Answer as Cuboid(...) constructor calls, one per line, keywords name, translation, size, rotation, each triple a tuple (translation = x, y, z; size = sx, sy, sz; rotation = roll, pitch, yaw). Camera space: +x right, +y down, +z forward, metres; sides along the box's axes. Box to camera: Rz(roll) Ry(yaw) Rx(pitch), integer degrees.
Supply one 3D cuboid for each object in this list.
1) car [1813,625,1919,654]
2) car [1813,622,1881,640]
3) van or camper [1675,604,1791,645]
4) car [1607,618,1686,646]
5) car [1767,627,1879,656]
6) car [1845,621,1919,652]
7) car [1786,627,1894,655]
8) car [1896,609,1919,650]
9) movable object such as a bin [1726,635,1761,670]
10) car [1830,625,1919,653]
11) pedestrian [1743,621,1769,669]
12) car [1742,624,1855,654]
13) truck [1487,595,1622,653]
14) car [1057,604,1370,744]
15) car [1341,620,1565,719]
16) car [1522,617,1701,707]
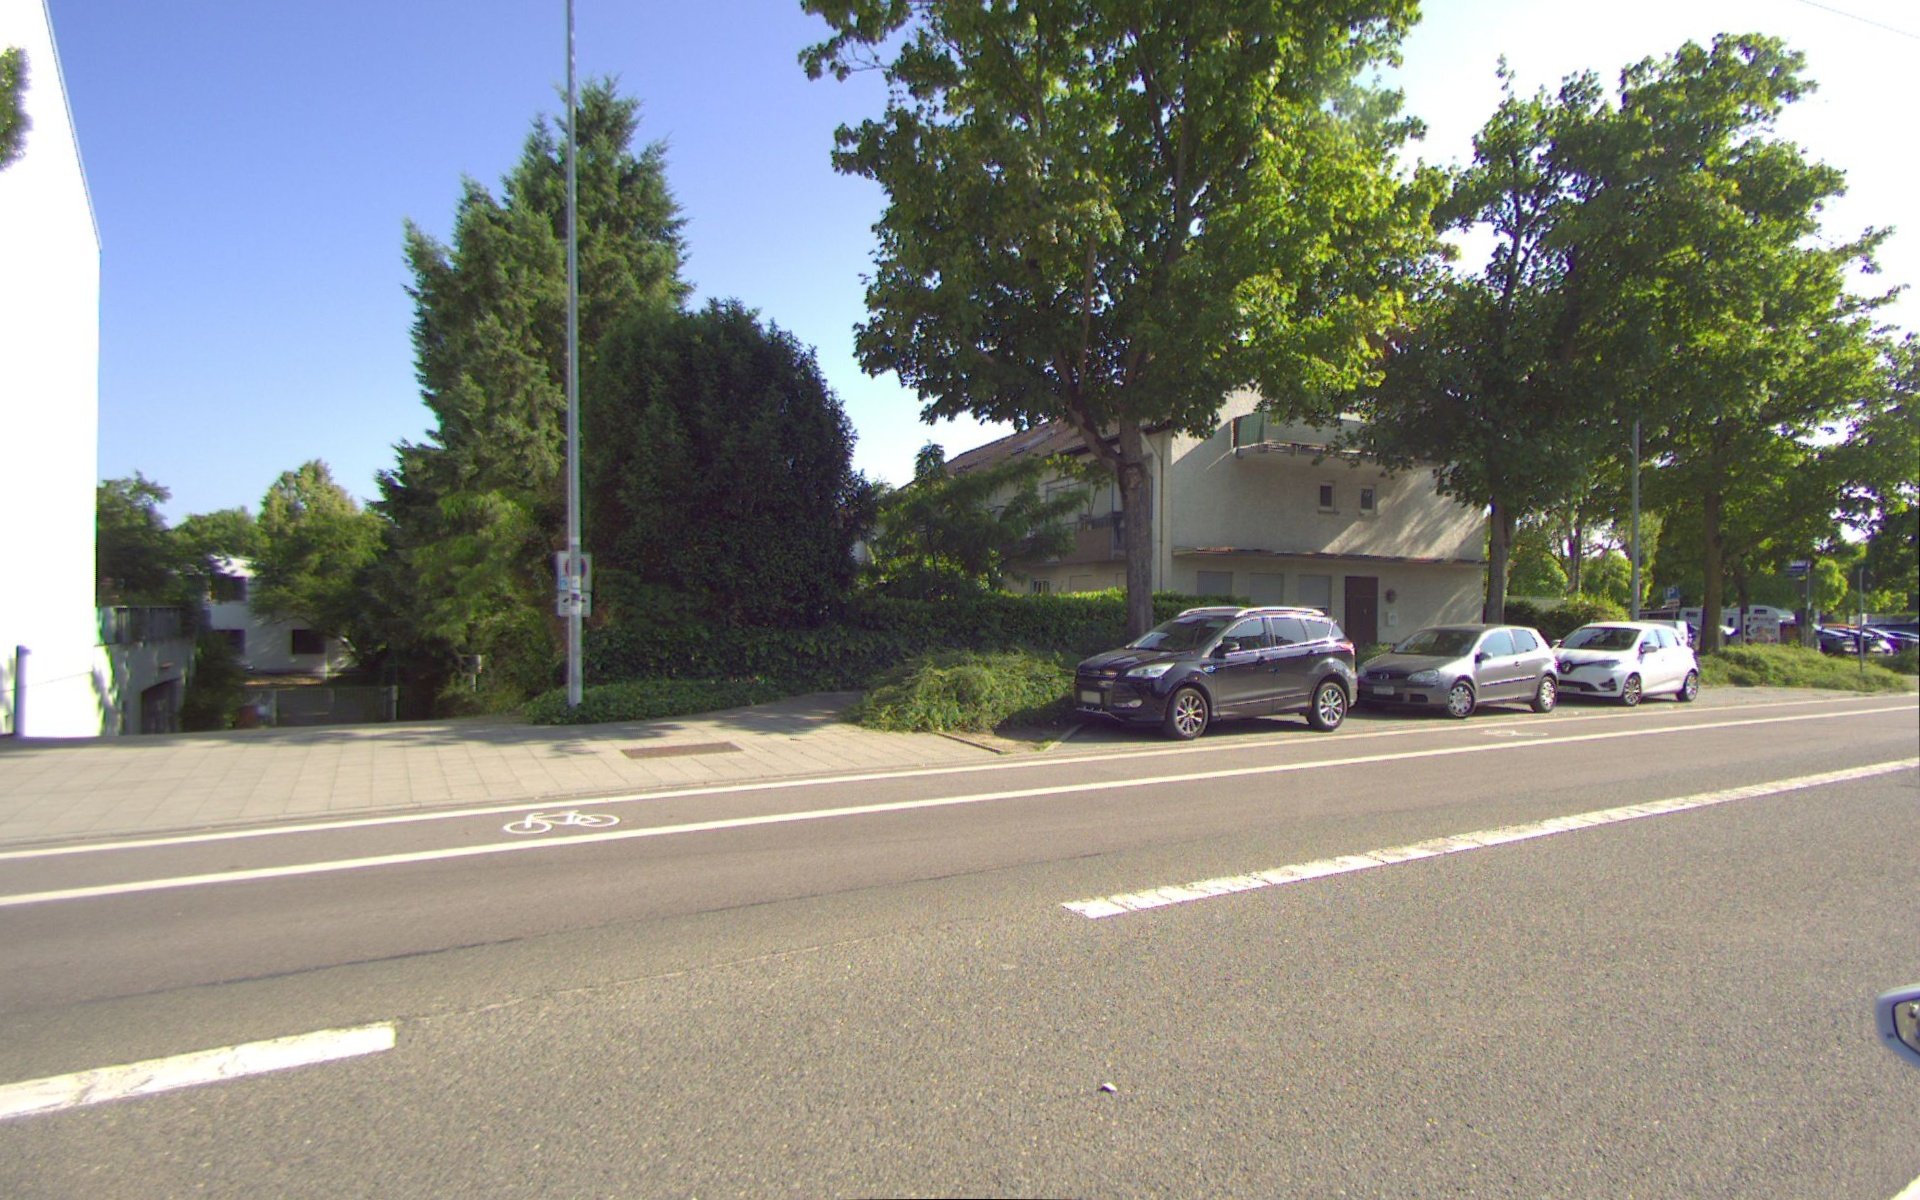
Cuboid(name="car", translation=(47.813, 2.050, 52.980), size=(1.719, 1.416, 3.964), rotation=(1, -1, -33))
Cuboid(name="car", translation=(73.992, 2.561, 83.801), size=(1.719, 1.416, 3.964), rotation=(1, -1, -33))
Cuboid(name="van or camper", translation=(56.663, 1.736, 73.801), size=(2.279, 2.906, 6.435), rotation=(1, 0, -29))
Cuboid(name="car", translation=(44.512, 2.035, 65.195), size=(1.611, 1.751, 3.958), rotation=(1, -1, -37))
Cuboid(name="car", translation=(43.159, 2.047, 50.309), size=(1.719, 1.324, 3.964), rotation=(1, -1, -33))
Cuboid(name="car", translation=(52.417, 2.019, 55.733), size=(2.026, 1.673, 4.593), rotation=(1, -1, -32))
Cuboid(name="car", translation=(45.765, 2.105, 52.297), size=(1.719, 1.324, 3.964), rotation=(1, -1, -33))
Cuboid(name="car", translation=(59.360, 1.777, 59.562), size=(2.063, 2.456, 5.351), rotation=(1, -1, -30))
Cuboid(name="movable object such as a bin", translation=(26.524, 1.778, 34.003), size=(1.246, 1.161, 0.539), rotation=(1, -1, -31))
Cuboid(name="car", translation=(50.251, 2.103, 54.766), size=(1.719, 1.416, 3.964), rotation=(1, -1, -33))
Cuboid(name="pedestrian", translation=(27.327, 1.541, 34.472), size=(0.603, 1.649, 0.522), rotation=(1, -1, -30))
Cuboid(name="car", translation=(40.907, 1.874, 49.085), size=(1.719, 1.324, 3.964), rotation=(1, -1, -33))
Cuboid(name="truck", translation=(35.662, 1.406, 60.525), size=(1.965, 3.285, 6.925), rotation=(1, -1, -31))
Cuboid(name="car", translation=(3.622, 0.943, 14.111), size=(4.370, 1.716, 1.666), rotation=(1, 0, -30))
Cuboid(name="car", translation=(8.459, 1.117, 17.149), size=(3.925, 1.488, 1.667), rotation=(1, -1, -33))
Cuboid(name="car", translation=(13.066, 1.174, 20.080), size=(3.853, 1.571, 1.591), rotation=(1, 1, -34))
